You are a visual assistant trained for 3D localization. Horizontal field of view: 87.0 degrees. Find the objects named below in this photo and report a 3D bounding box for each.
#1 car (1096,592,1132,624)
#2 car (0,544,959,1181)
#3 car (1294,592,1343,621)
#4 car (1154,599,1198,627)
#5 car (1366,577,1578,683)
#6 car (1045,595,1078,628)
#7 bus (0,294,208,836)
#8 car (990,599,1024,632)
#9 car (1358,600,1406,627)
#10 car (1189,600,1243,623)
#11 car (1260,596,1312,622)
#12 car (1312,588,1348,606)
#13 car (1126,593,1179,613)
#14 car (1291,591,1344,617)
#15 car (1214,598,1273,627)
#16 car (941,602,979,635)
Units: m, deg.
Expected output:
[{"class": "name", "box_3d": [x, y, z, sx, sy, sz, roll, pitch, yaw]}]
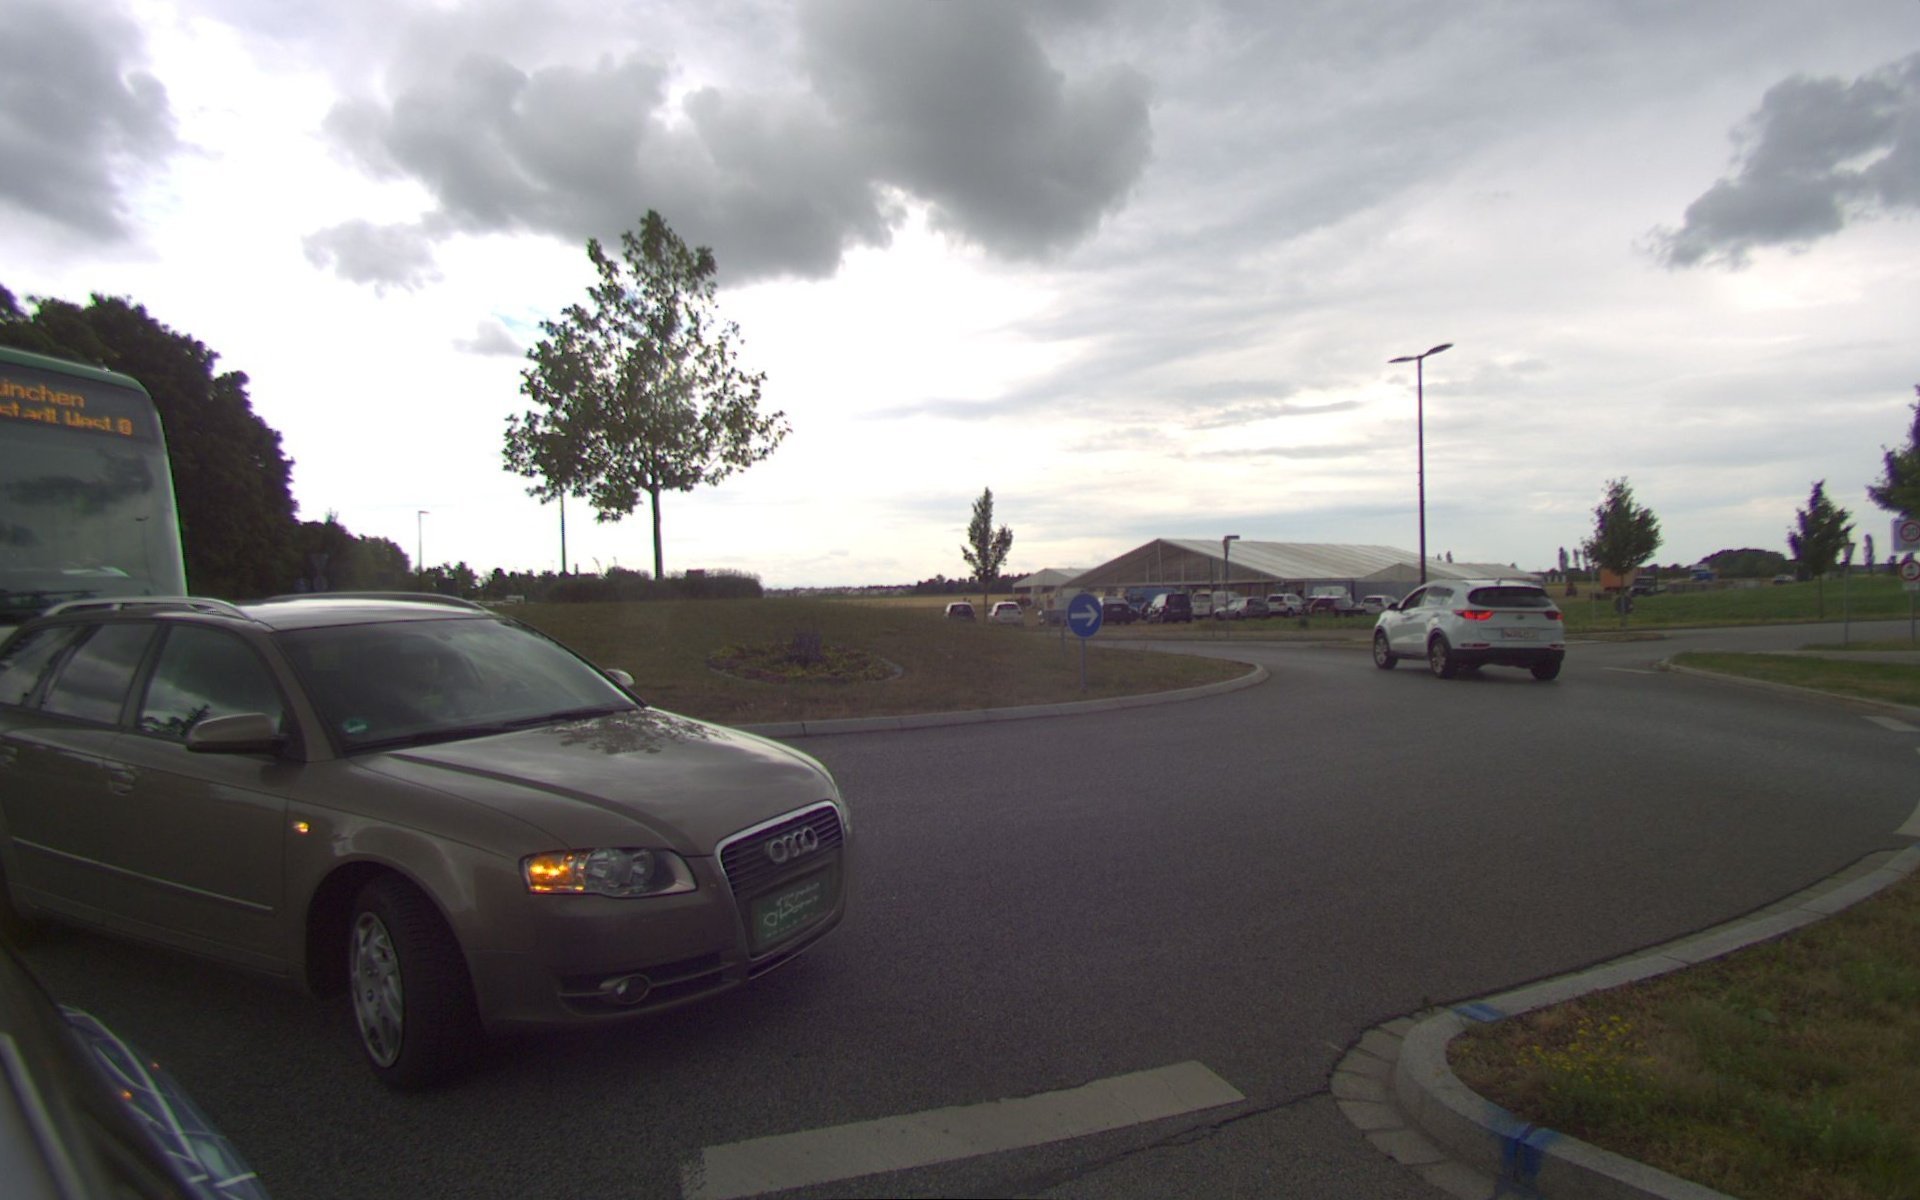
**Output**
[{"class": "car", "box_3d": [8.735, 0.421, 57.504, 1.695, 1.564, 3.994, -3, 2, 5]}, {"class": "car", "box_3d": [-2.421, 0.669, 4.145, 4.515, 1.476, 1.768, -2, -1, 26]}, {"class": "car", "box_3d": [21.167, 0.352, 59.841, 1.614, 1.618, 3.873, -1, 0, 3]}, {"class": "car", "box_3d": [12.152, 0.726, 57.148, 1.927, 1.453, 3.994, -1, 0, 5]}, {"class": "car", "box_3d": [8.791, 0.449, 17.853, 1.692, 1.638, 4.446, 0, 0, 4]}, {"class": "car", "box_3d": [5.693, 0.629, 57.152, 1.695, 1.564, 3.994, -3, 2, 5]}, {"class": "bus", "box_3d": [-9.005, -0.207, 6.702, 6.467, 3.283, 2.521, 0, 0, 6]}, {"class": "car", "box_3d": [2.673, 0.829, 57.013, 1.695, 1.564, 3.994, -3, 2, 5]}, {"class": "car", "box_3d": [26.624, 0.810, 63.819, 1.730, 1.565, 3.948, -1, 0, 39]}, {"class": "car", "box_3d": [17.797, 0.793, 70.199, 1.952, 1.453, 3.944, -1, 0, 43]}, {"class": "car", "box_3d": [21.858, 0.599, 67.799, 1.835, 1.618, 3.775, -1, 0, 43]}, {"class": "car", "box_3d": [35.555, -0.311, 97.162, 1.836, 1.618, 3.774, -1, 0, 44]}, {"class": "car", "box_3d": [14.636, 0.227, 76.915, 3.938, 1.453, 1.955, -2, 0, -41]}, {"class": "car", "box_3d": [23.330, 0.241, 66.001, 1.835, 1.618, 3.775, -1, 0, 43]}, {"class": "car", "box_3d": [16.861, 0.710, 60.357, 1.705, 1.618, 3.887, -1, 0, -13]}, {"class": "car", "box_3d": [0.042, 1.004, 56.842, 1.695, 1.564, 3.994, -3, 2, 5]}]
